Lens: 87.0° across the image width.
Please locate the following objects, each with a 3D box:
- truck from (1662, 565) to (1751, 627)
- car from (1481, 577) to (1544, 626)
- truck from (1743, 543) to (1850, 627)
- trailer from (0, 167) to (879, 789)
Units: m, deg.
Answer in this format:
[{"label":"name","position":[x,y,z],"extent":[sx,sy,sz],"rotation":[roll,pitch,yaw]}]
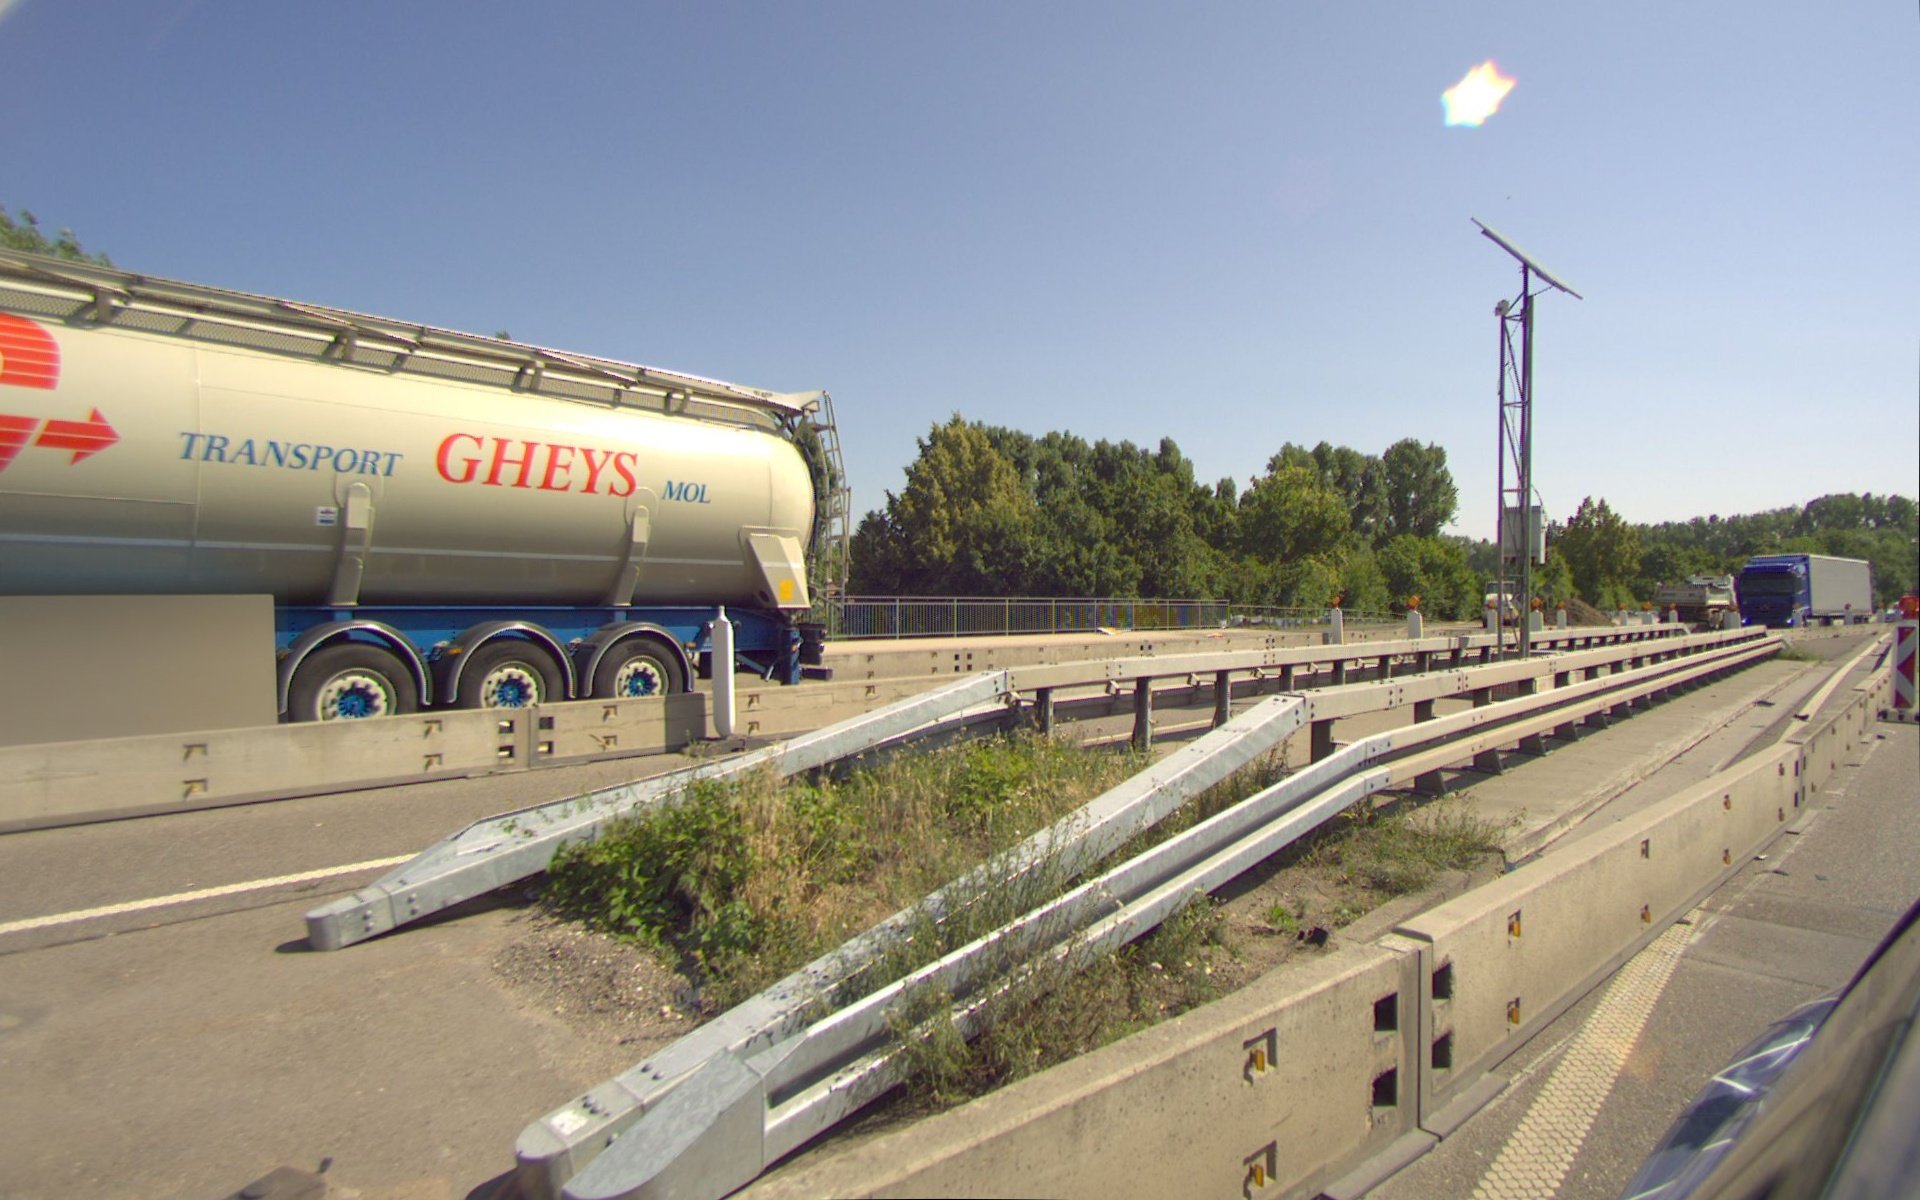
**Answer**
[{"label":"truck","position":[44.994,-0.276,60.914],"extent":[8.584,3.476,2.603],"rotation":[0,1,-42]},{"label":"car","position":[31.660,0.045,57.934],"extent":[2.101,2.675,5.900],"rotation":[1,1,39]},{"label":"truck","position":[43.559,-0.760,52.565],"extent":[8.513,4.035,2.859],"rotation":[0,1,-41]},{"label":"trailer","position":[-6.283,-0.852,8.940],"extent":[2.695,4.189,12.412],"rotation":[1,1,44]}]
